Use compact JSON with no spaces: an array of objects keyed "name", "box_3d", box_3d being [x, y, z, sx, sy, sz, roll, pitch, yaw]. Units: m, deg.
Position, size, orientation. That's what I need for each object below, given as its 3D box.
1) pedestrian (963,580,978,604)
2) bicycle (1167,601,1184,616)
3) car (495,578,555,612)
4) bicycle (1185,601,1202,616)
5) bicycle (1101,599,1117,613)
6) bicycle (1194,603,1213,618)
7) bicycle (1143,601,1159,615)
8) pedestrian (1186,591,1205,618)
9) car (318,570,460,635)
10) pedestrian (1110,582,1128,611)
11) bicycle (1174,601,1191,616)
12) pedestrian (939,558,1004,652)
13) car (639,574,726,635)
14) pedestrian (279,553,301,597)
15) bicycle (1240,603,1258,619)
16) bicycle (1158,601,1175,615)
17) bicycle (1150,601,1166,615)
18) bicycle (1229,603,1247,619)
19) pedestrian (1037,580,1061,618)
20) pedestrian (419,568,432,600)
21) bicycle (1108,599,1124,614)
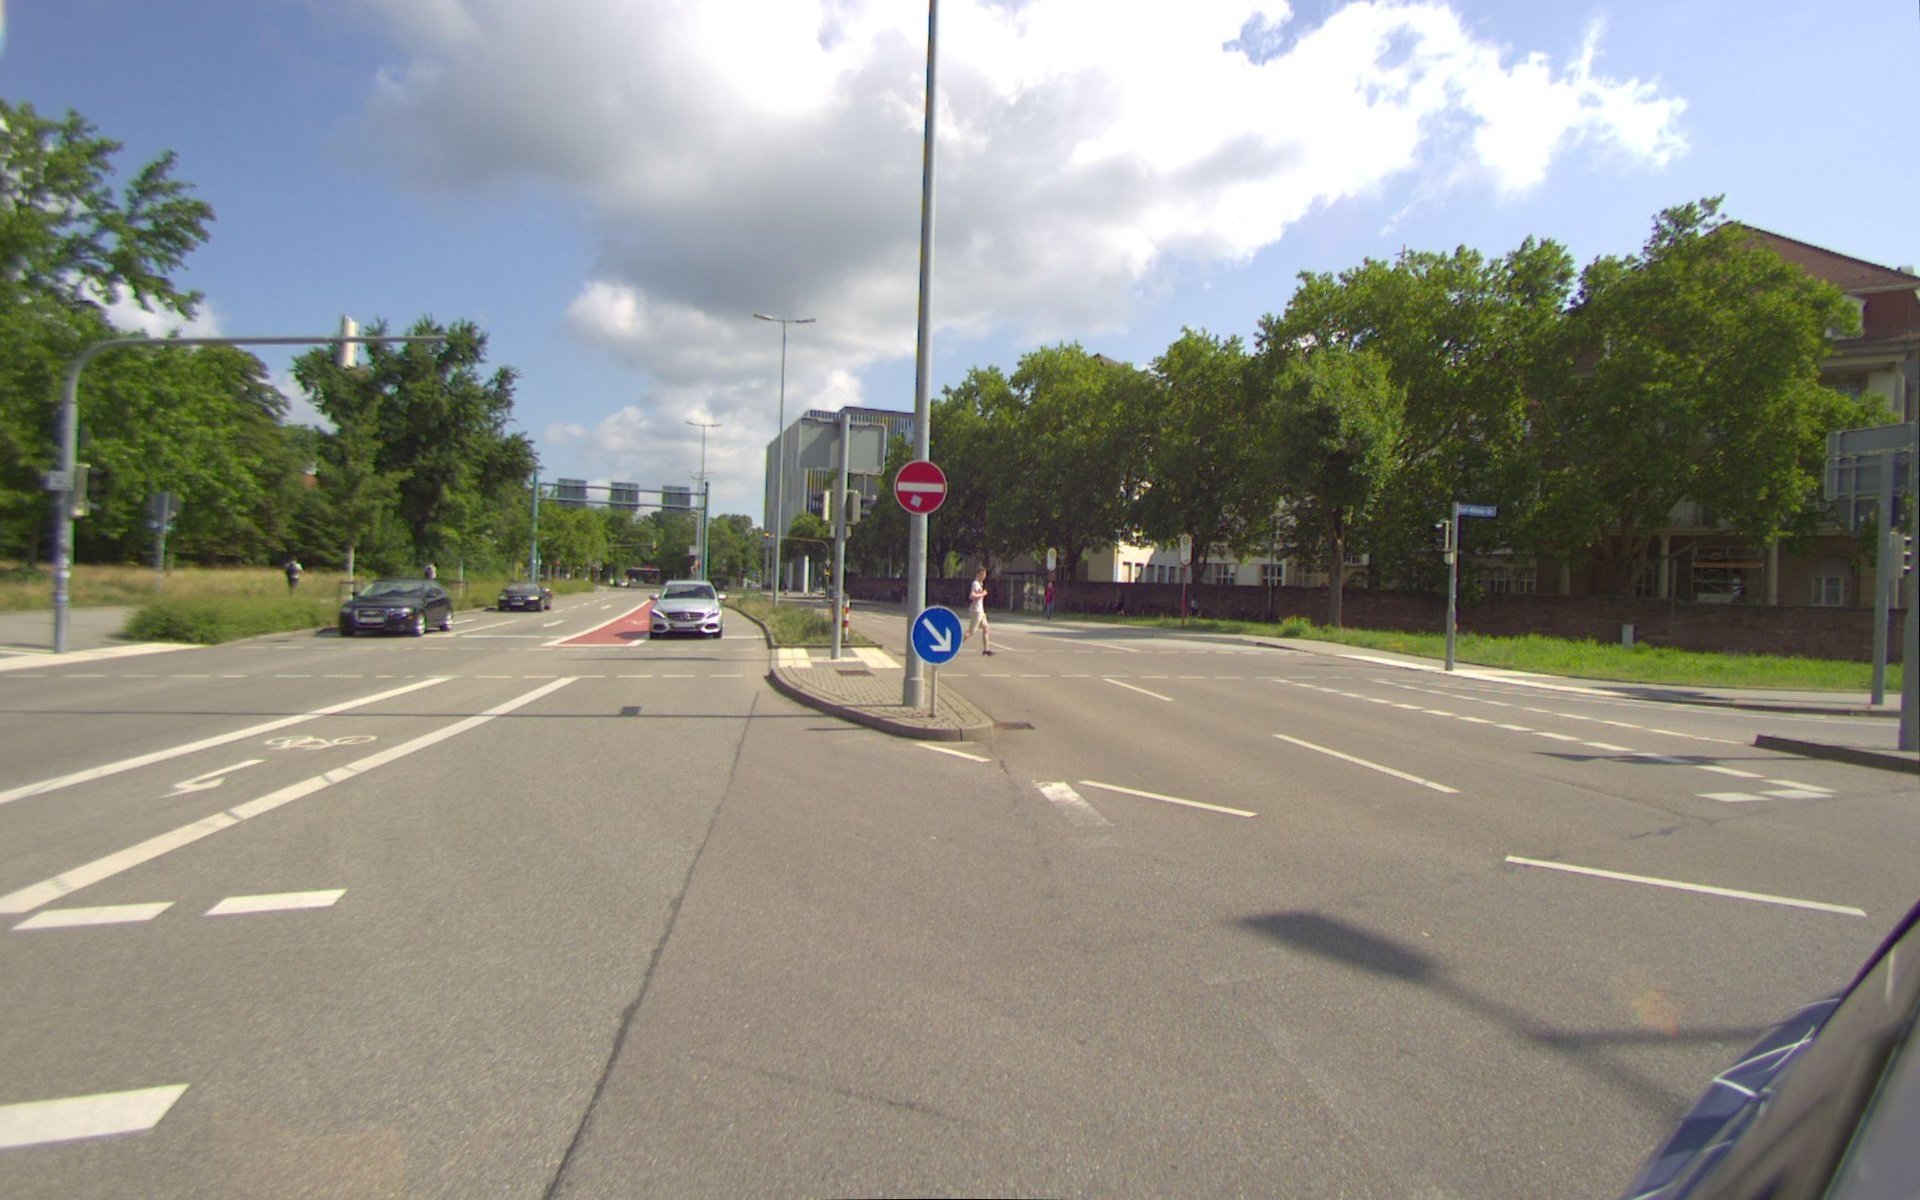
[{"name":"pedestrian","box_3d":[0.771,-0.588,75.598,0.868,1.802,0.772,0,1,-18]},{"name":"bicycle","box_3d":[13.027,0.490,61.108,0.956,0.859,0.482,2,1,-40]},{"name":"car","box_3d":[-18.986,-0.247,44.351,1.760,1.288,4.009,2,1,-14]},{"name":"bicycle","box_3d":[13.844,0.491,60.095,0.956,0.859,0.482,2,1,-40]},{"name":"bicycle","box_3d":[9.585,0.416,65.243,0.956,0.859,0.482,2,1,-40]},{"name":"bicycle","box_3d":[14.300,0.611,59.402,1.055,0.859,0.499,2,1,-40]},{"name":"bicycle","box_3d":[11.795,0.488,62.534,0.956,0.859,0.482,2,1,-40]},{"name":"pedestrian","box_3d":[13.766,0.240,59.145,0.713,1.553,0.723,2,0,-41]},{"name":"car","box_3d":[-14.126,0.018,25.314,1.958,1.394,4.169,3,1,-14]},{"name":"pedestrian","box_3d":[9.756,-0.212,62.022,0.651,1.744,0.742,2,1,-37]},{"name":"bicycle","box_3d":[13.342,0.488,60.636,0.956,0.859,0.482,2,1,-40]},{"name":"pedestrian","box_3d":[0.232,0.115,20.866,1.156,1.881,0.700,2,-3,-15]},{"name":"car","box_3d":[-7.297,0.050,26.944,2.019,1.460,4.791,0,2,-13]},{"name":"pedestrian","box_3d":[-25.291,-0.923,38.199,0.531,1.628,0.525,2,-2,-22]},{"name":"bicycle","box_3d":[16.295,0.604,57.085,0.956,0.859,0.482,2,1,-40]},{"name":"bicycle","box_3d":[12.587,0.490,61.624,0.956,0.859,0.482,2,1,-40]},{"name":"bicycle","box_3d":[12.161,0.489,62.117,0.956,0.859,0.482,2,1,-40]},{"name":"bicycle","box_3d":[15.806,0.621,57.564,0.956,0.859,0.482,2,1,-40]},{"name":"pedestrian","box_3d":[4.335,-0.035,49.335,0.734,1.802,0.967,1,1,-26]},{"name":"pedestrian","box_3d":[-30.751,-0.906,58.261,0.531,1.791,0.525,2,-2,-22]},{"name":"bicycle","box_3d":[9.972,0.418,64.813,0.956,0.859,0.482,2,1,-40]}]
